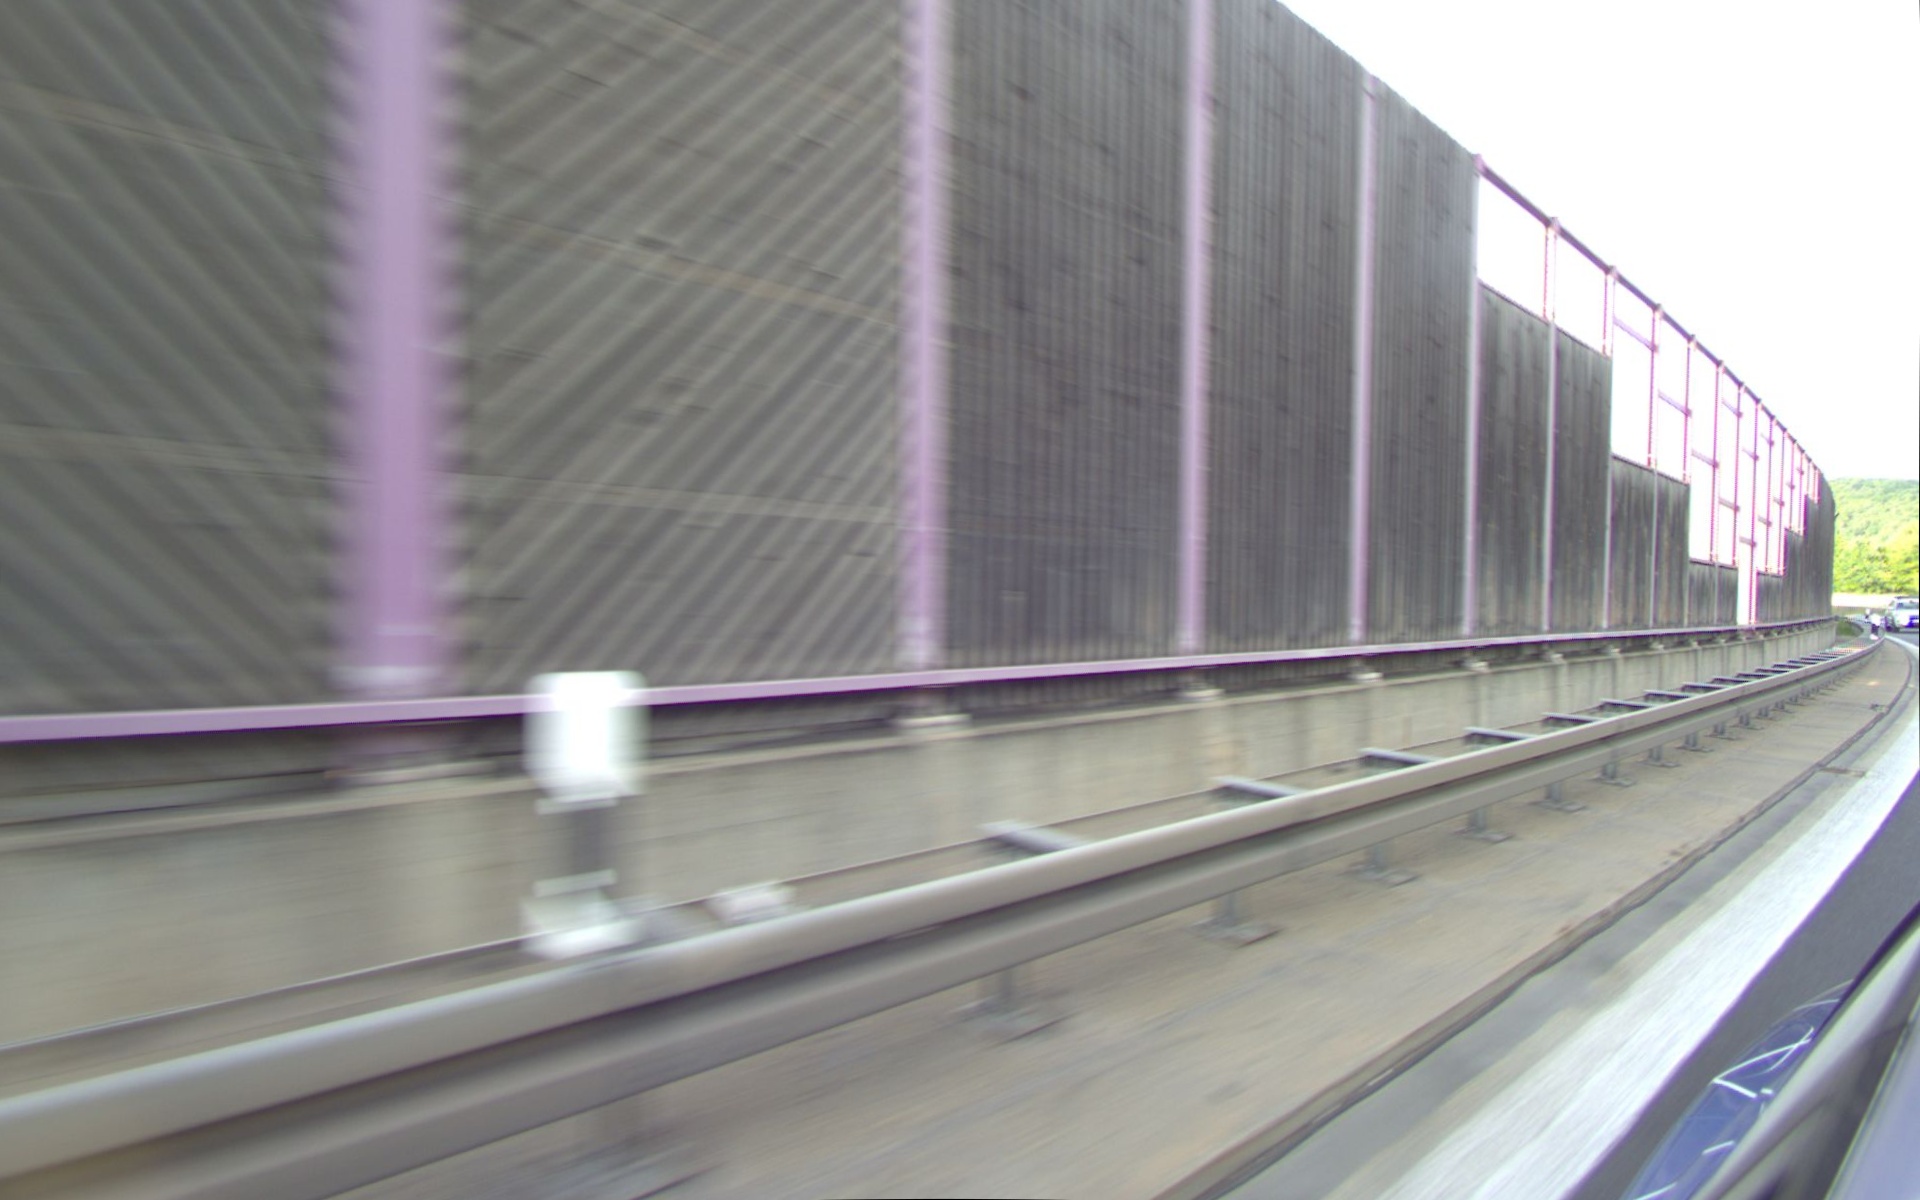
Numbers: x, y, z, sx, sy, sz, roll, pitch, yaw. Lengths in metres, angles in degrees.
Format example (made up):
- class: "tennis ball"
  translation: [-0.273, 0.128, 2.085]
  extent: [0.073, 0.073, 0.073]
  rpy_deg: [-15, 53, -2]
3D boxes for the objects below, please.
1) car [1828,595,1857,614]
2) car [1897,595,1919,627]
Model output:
- class: "car"
  translation: [76.226, 0.374, 87.400]
  extent: [1.612, 1.478, 3.614]
  rpy_deg: [0, 1, 37]
- class: "car"
  translation: [51.128, 0.559, 53.367]
  extent: [1.893, 1.686, 3.951]
  rpy_deg: [-1, 0, 34]
